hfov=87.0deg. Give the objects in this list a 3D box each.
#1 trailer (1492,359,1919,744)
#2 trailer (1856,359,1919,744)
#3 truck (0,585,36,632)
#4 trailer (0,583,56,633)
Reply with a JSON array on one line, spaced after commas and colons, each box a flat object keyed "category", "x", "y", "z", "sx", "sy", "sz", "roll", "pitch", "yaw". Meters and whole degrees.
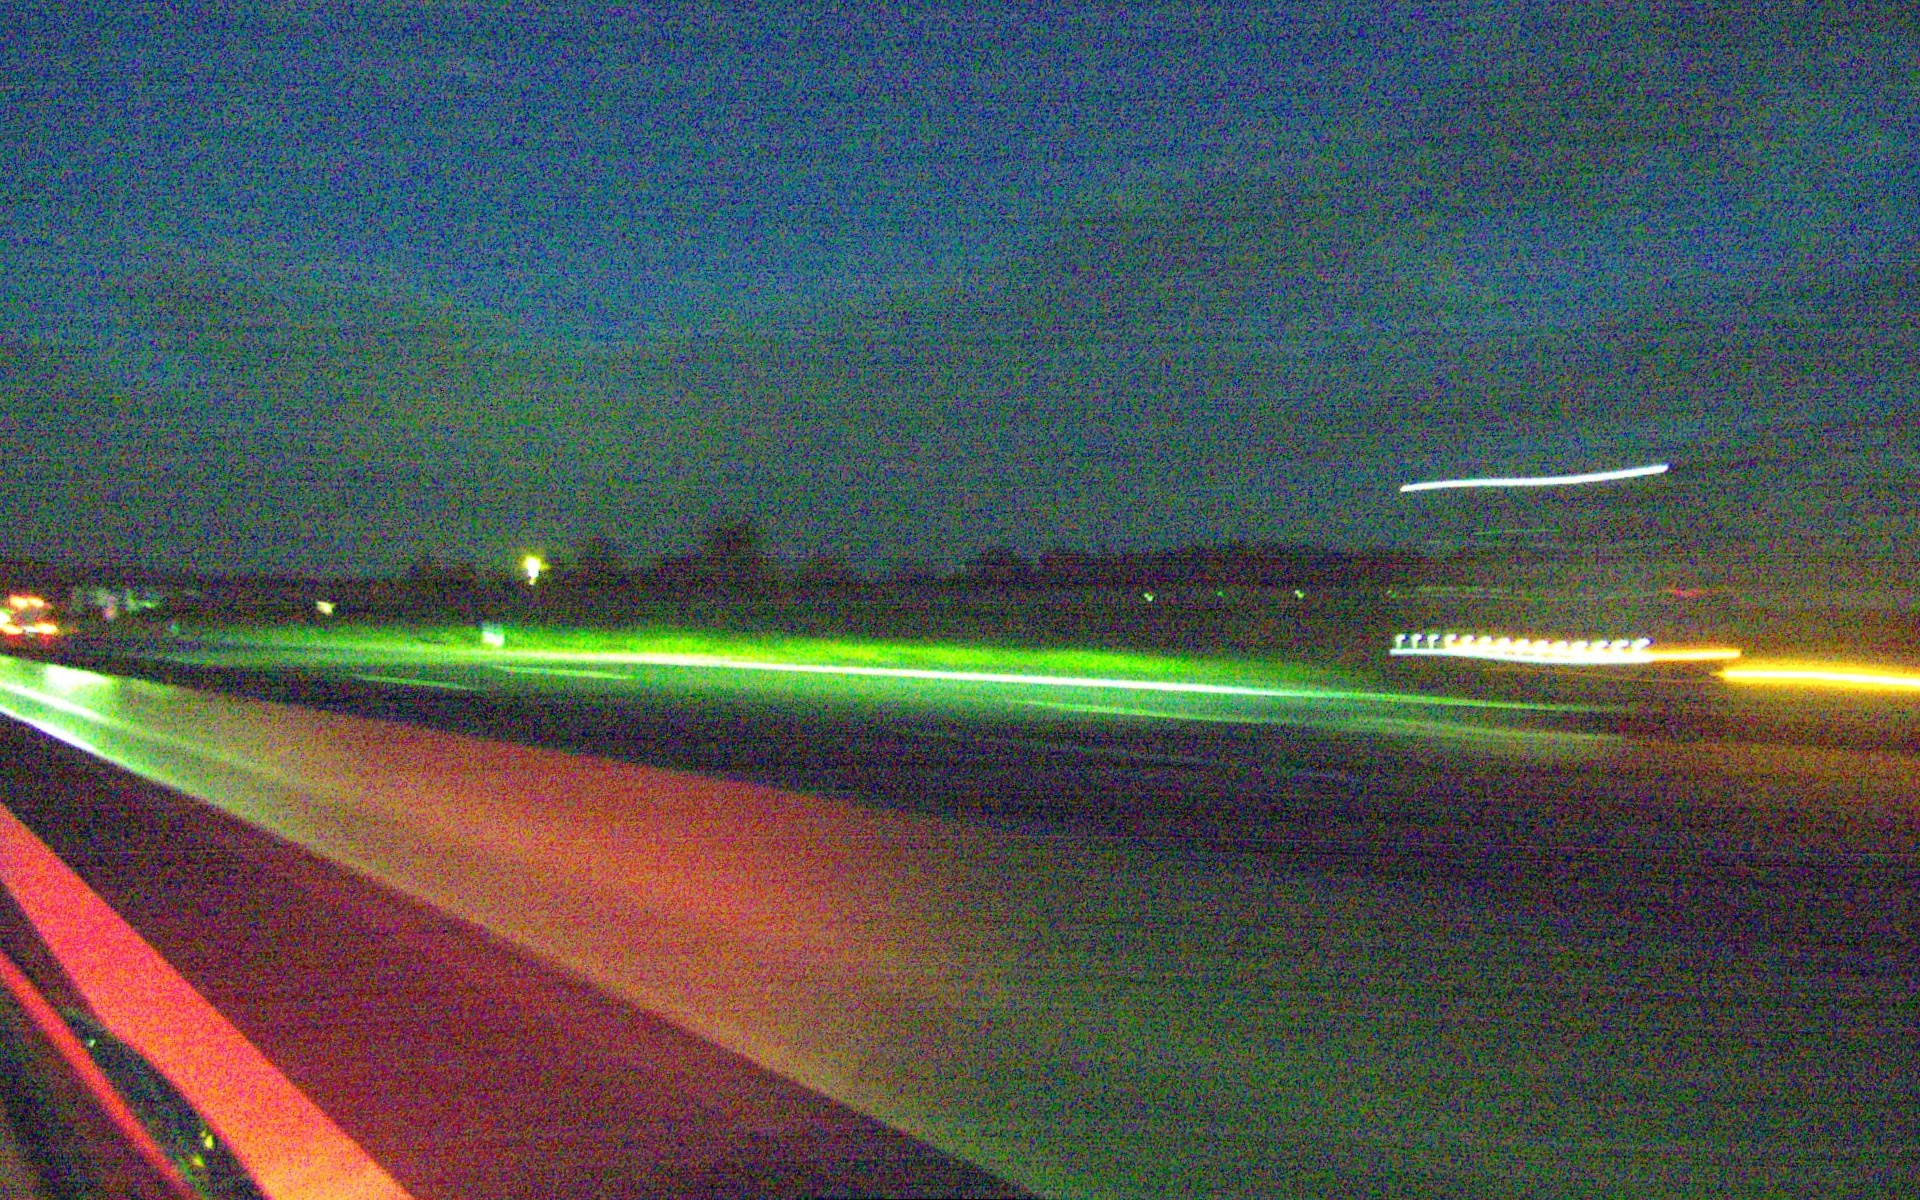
[{"category": "trailer", "x": 10.172, "y": -0.488, "z": 10.999, "sx": 7.228, "sy": 3.717, "sz": 3.025, "roll": -1, "pitch": 0, "yaw": 42}, {"category": "trailer", "x": 14.255, "y": -0.539, "z": 7.259, "sx": 11.685, "sy": 3.717, "sz": 3.025, "roll": -1, "pitch": 0, "yaw": 42}, {"category": "truck", "x": -84.808, "y": 0.723, "z": 89.526, "sx": 6.766, "sy": 4.037, "sz": 3.404, "roll": -1, "pitch": 0, "yaw": 38}, {"category": "trailer", "x": -81.692, "y": 0.682, "z": 87.044, "sx": 14.741, "sy": 4.037, "sz": 3.404, "roll": -1, "pitch": 0, "yaw": 38}]
